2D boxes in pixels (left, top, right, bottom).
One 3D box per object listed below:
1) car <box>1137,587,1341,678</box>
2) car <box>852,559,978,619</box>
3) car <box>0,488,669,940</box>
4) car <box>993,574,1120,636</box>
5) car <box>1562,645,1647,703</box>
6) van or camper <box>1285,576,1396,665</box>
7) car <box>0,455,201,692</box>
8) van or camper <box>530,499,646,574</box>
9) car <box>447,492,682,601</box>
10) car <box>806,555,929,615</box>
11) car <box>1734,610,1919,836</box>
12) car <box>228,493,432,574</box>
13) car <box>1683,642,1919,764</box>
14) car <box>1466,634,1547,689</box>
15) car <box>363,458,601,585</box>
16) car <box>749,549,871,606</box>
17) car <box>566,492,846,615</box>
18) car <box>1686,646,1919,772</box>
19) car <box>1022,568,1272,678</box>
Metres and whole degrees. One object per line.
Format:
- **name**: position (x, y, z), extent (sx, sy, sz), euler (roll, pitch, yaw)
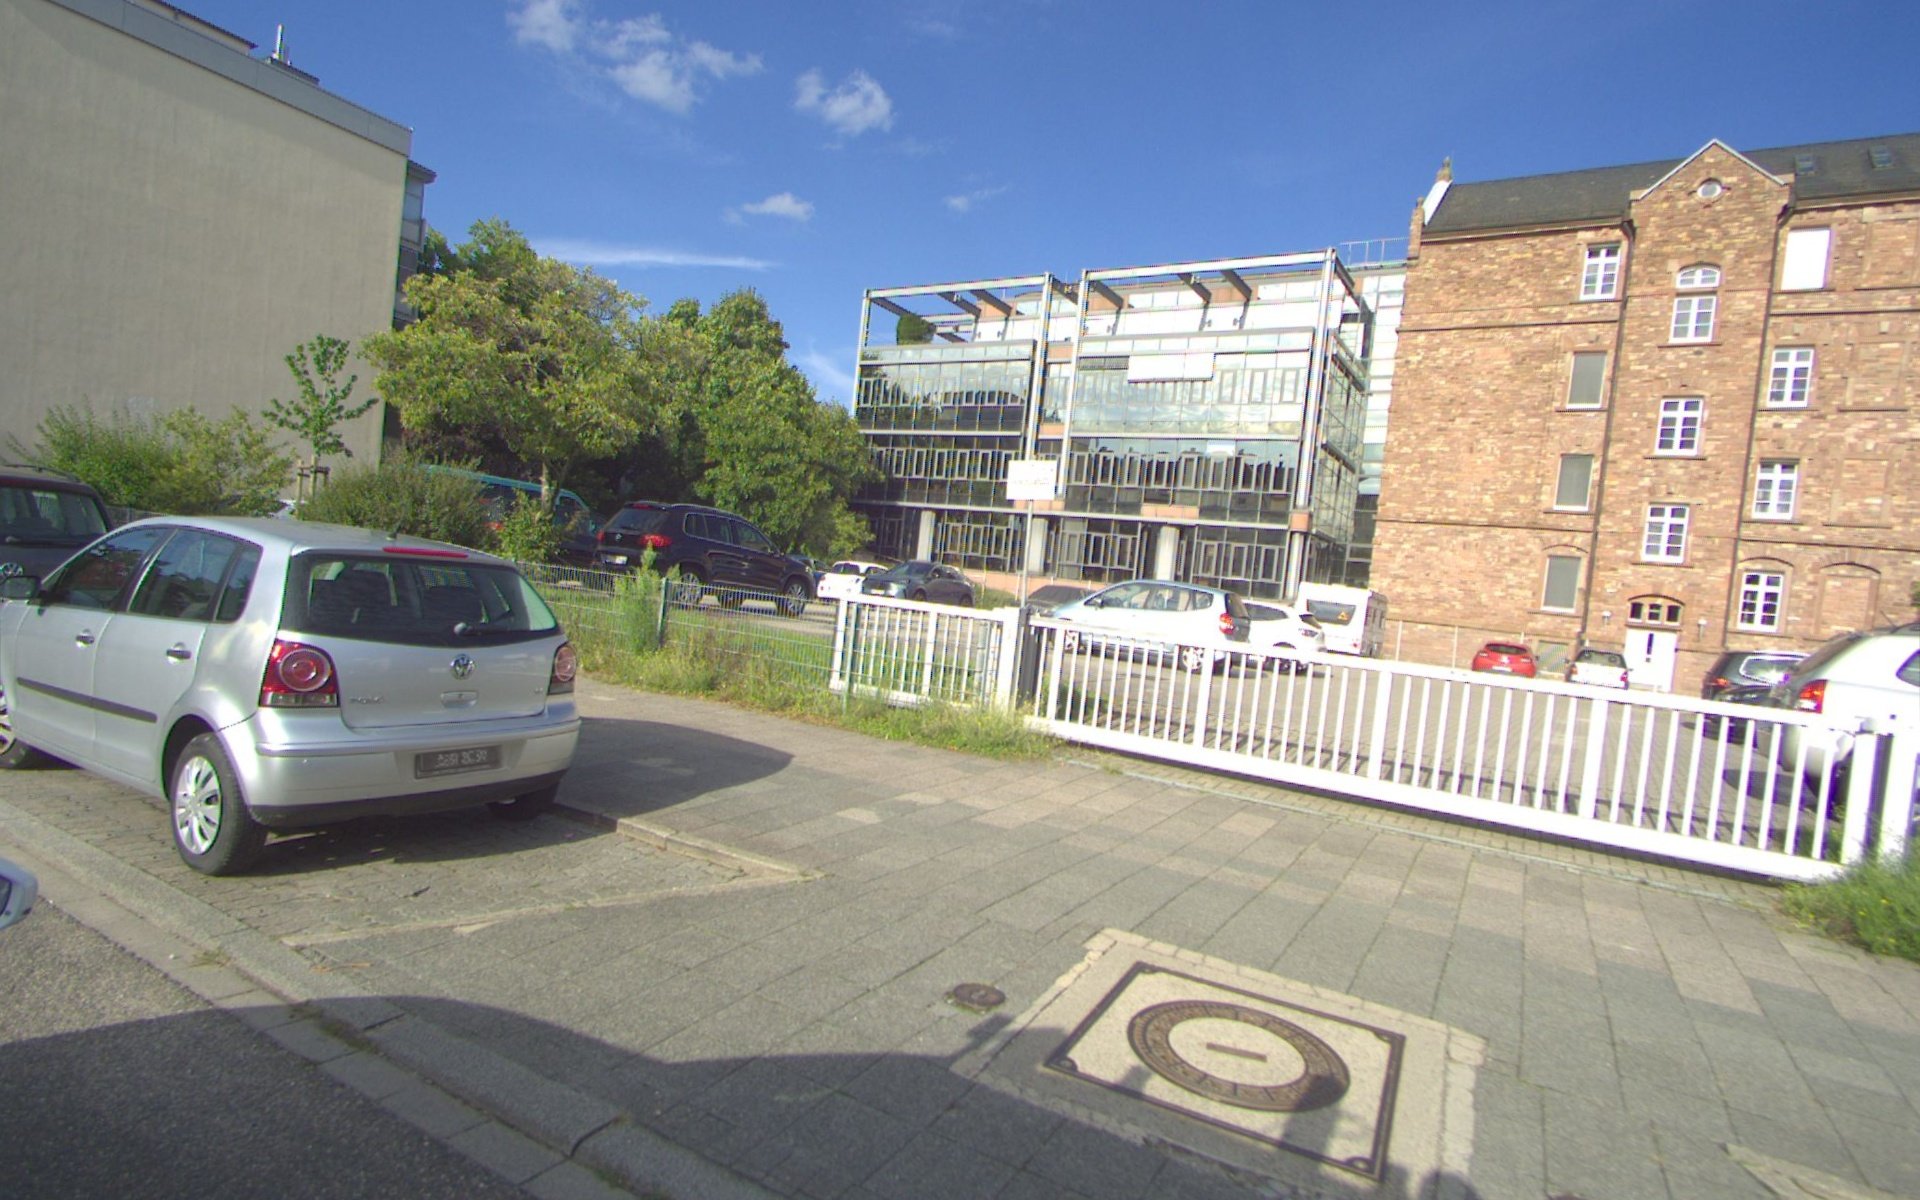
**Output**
- **car**: position (6.105, 0.665, 21.990), extent (3.928, 1.461, 1.997), euler (7, 2, 24)
- **car**: position (-1.306, -0.309, 31.031), extent (1.966, 1.505, 3.990), euler (7, 1, 30)
- **car**: position (-4.048, 0.247, 5.560), extent (4.724, 1.494, 2.015), euler (6, 2, 33)
- **car**: position (2.818, 0.179, 28.545), extent (1.967, 1.326, 3.992), euler (6, -1, 31)
- **car**: position (20.024, 2.247, 31.395), extent (1.967, 1.461, 3.988), euler (7, 2, 31)
- **van or camper**: position (13.158, 0.713, 34.573), extent (2.552, 2.590, 5.243), euler (7, 2, 30)
- **car**: position (-8.426, -0.388, 8.125), extent (4.332, 1.637, 1.996), euler (7, 2, 28)
- **van or camper**: position (-17.044, -2.905, 46.006), extent (5.039, 2.913, 2.328), euler (7, 2, 34)
- **car**: position (-8.019, -1.045, 20.703), extent (1.968, 1.761, 3.985), euler (7, 2, 35)
- **car**: position (-2.968, -0.459, 33.163), extent (1.966, 1.617, 3.990), euler (7, 2, 30)
- **car**: position (9.057, 1.165, 8.140), extent (4.083, 1.687, 1.994), euler (7, 2, 32)
- **car**: position (-16.254, -1.685, 26.101), extent (1.969, 1.606, 3.984), euler (7, 2, 36)
- **car**: position (16.680, 1.946, 18.826), extent (4.718, 1.767, 1.852), euler (6, 2, 27)
- **car**: position (17.803, 1.954, 32.687), extent (1.967, 1.461, 3.988), euler (7, 2, 31)
- **car**: position (-10.205, -1.622, 21.747), extent (1.968, 2.214, 4.118), euler (7, 2, 35)
- **car**: position (-5.063, -0.724, 34.375), extent (1.966, 1.572, 3.990), euler (7, 2, 30)
- **car**: position (-4.261, -0.729, 17.546), extent (1.968, 1.643, 4.446), euler (7, 2, 35)
- **car**: position (14.896, 1.823, 16.540), extent (4.532, 1.610, 1.850), euler (6, 2, 33)
- **car**: position (3.393, 0.380, 18.280), extent (3.931, 1.461, 1.995), euler (7, 2, 29)
